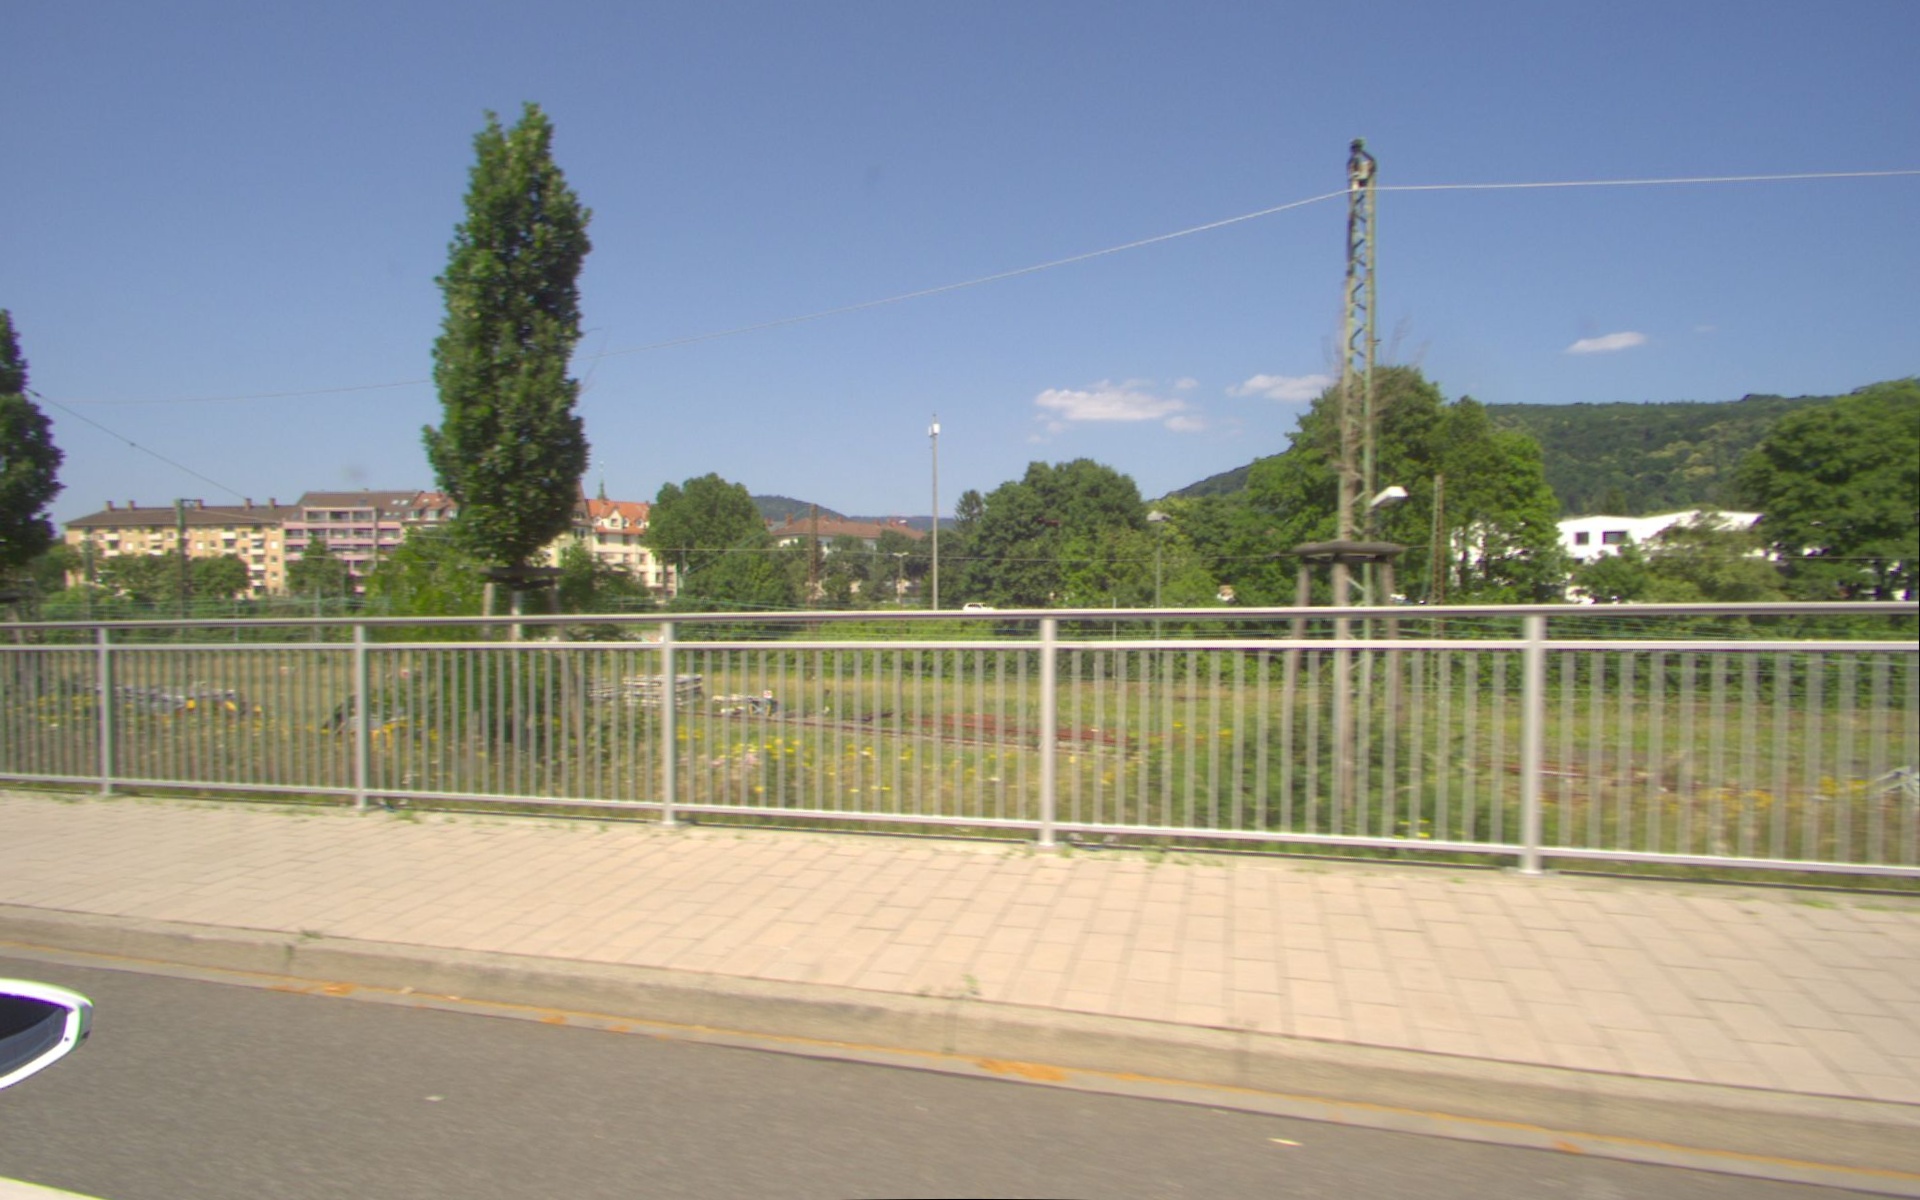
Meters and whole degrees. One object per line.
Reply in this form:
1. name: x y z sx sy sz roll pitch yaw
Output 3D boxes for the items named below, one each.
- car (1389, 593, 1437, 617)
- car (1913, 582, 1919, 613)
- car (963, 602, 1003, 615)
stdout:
1. car: 42.948 0.507 94.980 3.881 2.038 1.747 -2 -5 34
2. car: 71.102 -0.284 70.395 5.433 2.127 2.130 -2 -5 27
3. car: 2.442 0.899 106.505 1.848 1.385 4.273 -1 0 -44
